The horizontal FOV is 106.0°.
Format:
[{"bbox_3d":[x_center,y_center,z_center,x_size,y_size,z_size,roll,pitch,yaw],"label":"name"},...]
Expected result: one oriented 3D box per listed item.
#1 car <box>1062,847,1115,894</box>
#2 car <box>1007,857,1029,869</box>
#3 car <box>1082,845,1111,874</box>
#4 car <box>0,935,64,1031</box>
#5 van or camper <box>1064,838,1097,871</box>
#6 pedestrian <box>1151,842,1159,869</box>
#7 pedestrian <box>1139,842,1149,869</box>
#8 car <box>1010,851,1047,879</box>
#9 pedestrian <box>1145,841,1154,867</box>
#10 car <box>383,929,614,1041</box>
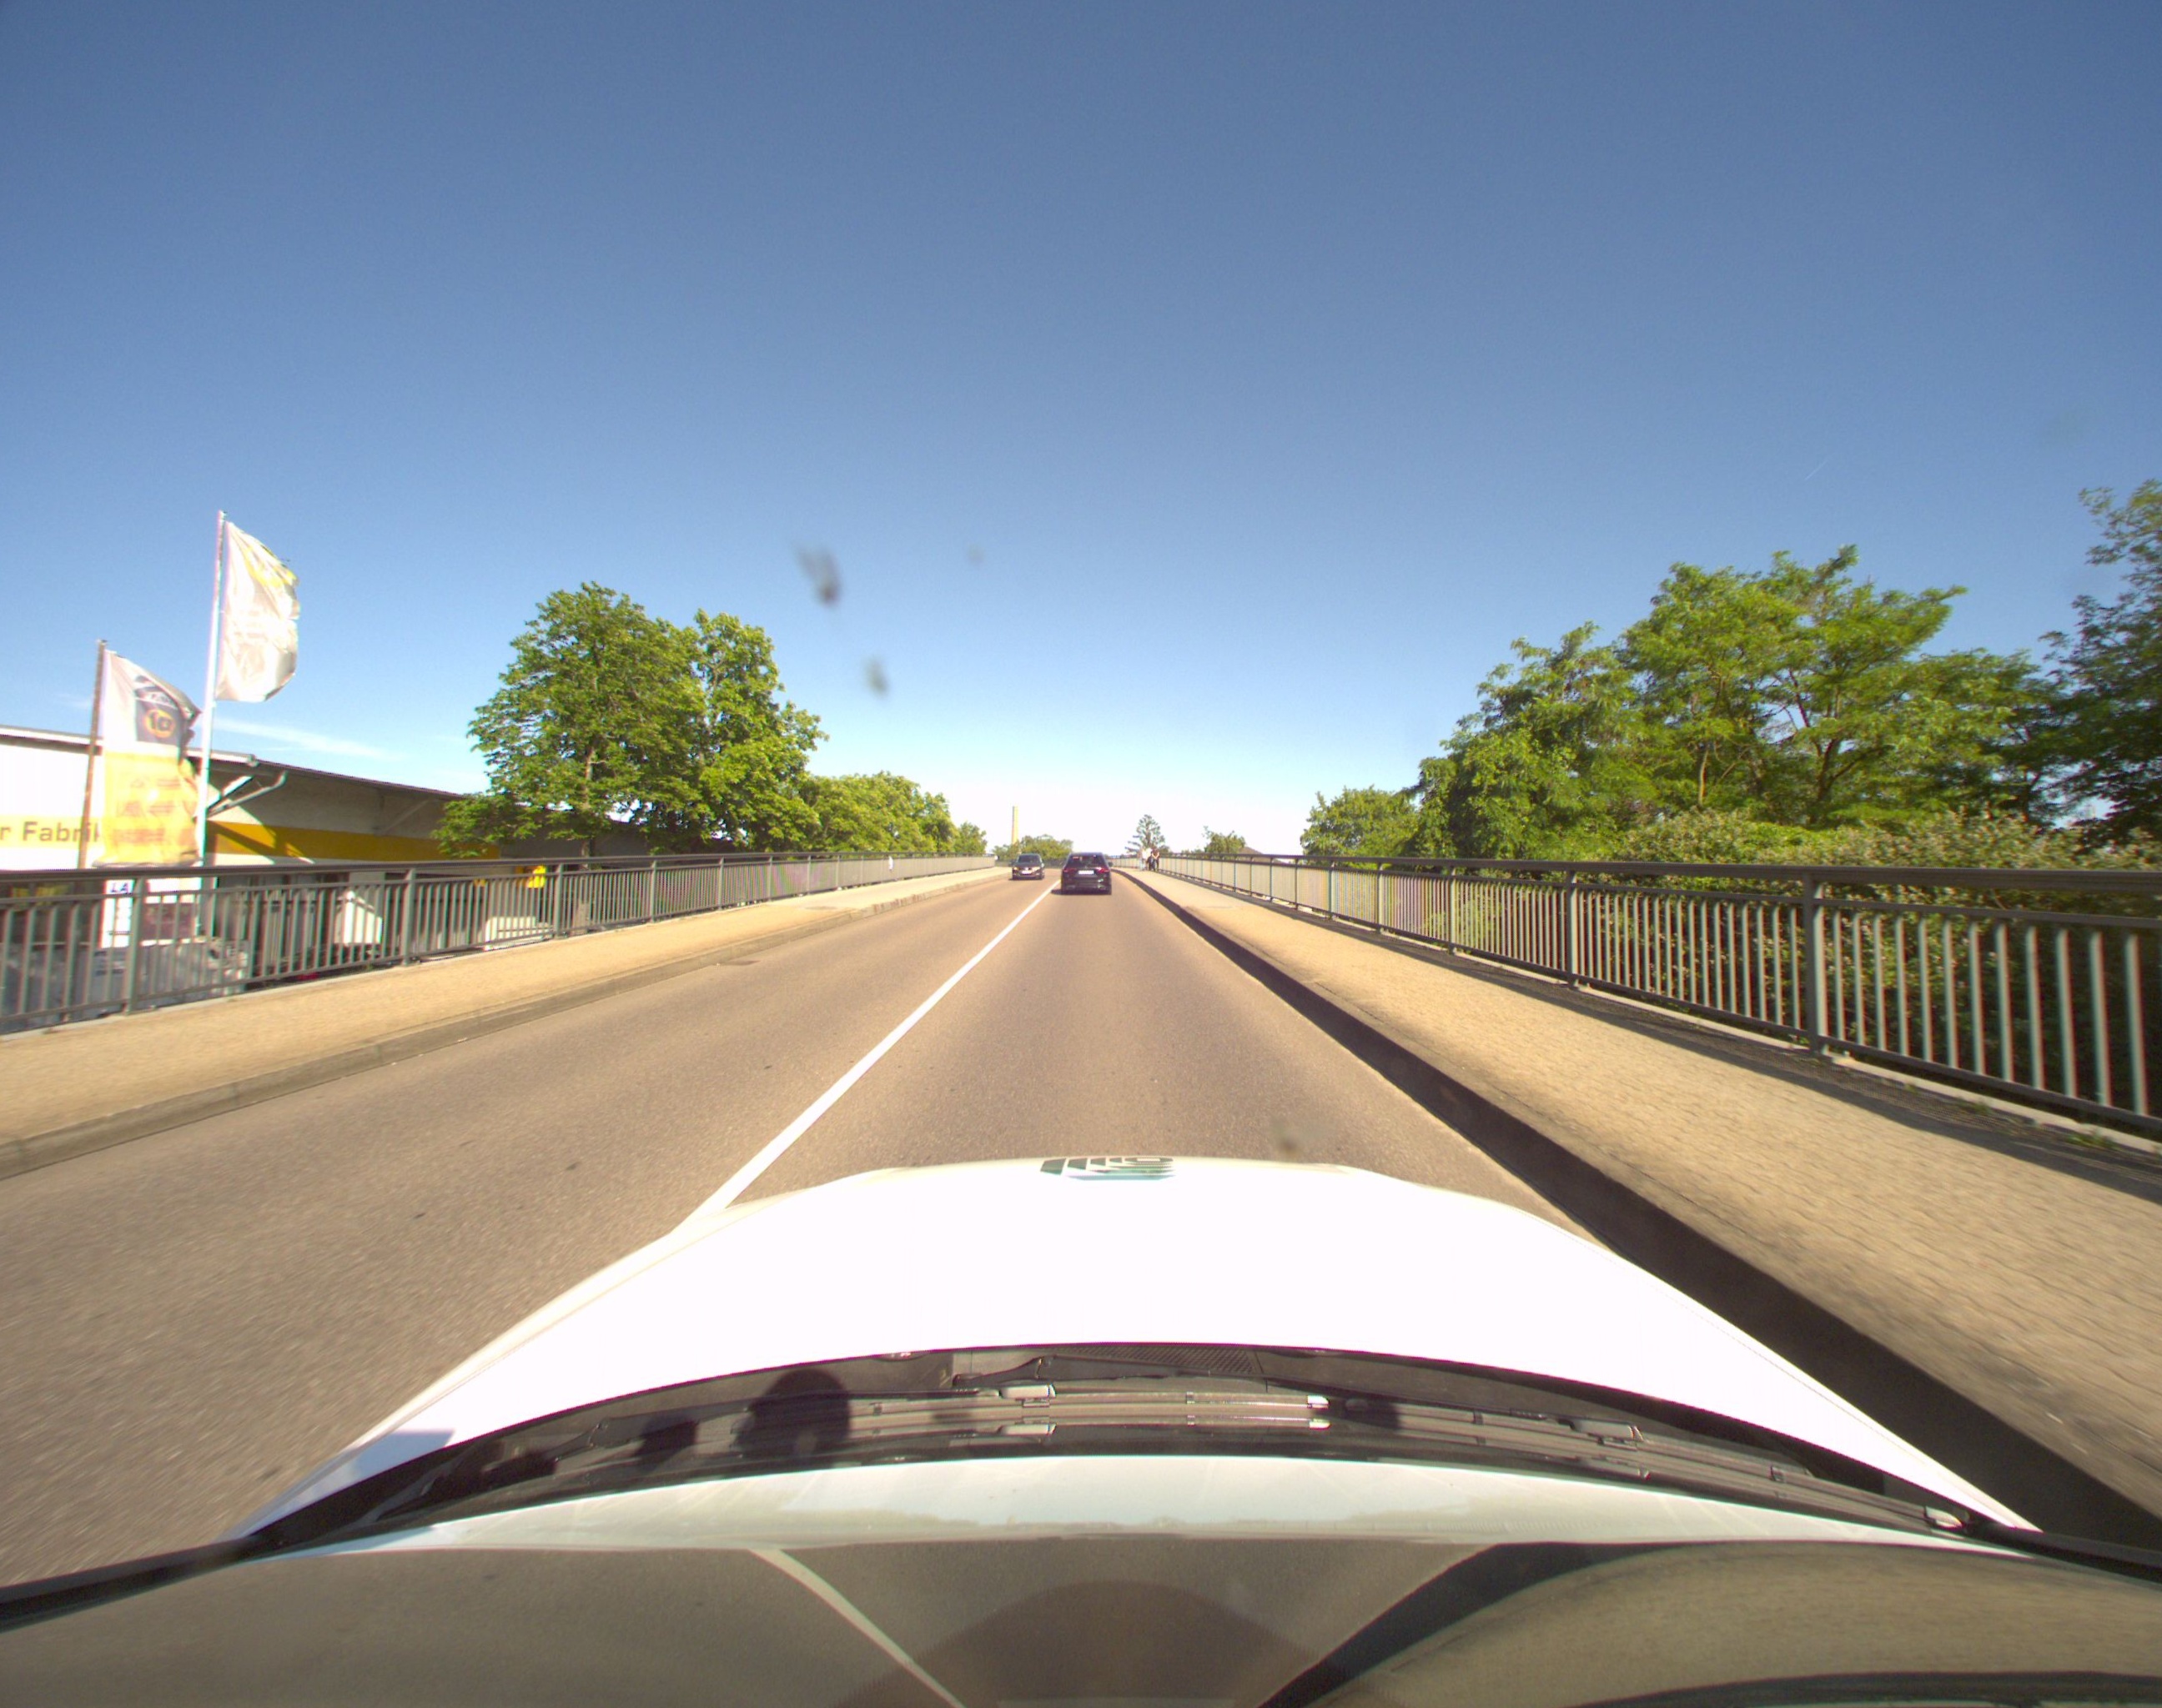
[{"bbox_3d":[0.202,0.570,29.729,1.765,1.592,3.986,1,0,-2],"label":"car"},{"bbox_3d":[-8.910,1.259,115.226,1.905,1.489,4.283,-1,-3,12],"label":"car"},{"bbox_3d":[1.039,0.389,53.659,1.798,1.640,4.000,1,-4,2],"label":"car"},{"bbox_3d":[-22.530,2.578,15.279,1.991,1.852,3.990,0,-2,-6],"label":"car"},{"bbox_3d":[-0.083,0.127,73.372,2.223,2.740,7.064,1,-2,-6],"label":"van or camper"},{"bbox_3d":[4.937,0.102,54.359,0.470,1.750,0.654,1,-2,1],"label":"pedestrian"},{"bbox_3d":[4.172,0.113,54.272,0.600,1.750,0.717,1,-2,1],"label":"pedestrian"},{"bbox_3d":[-2.910,0.608,45.954,1.764,1.474,3.989,-1,0,0],"label":"car"},{"bbox_3d":[4.619,-0.018,55.207,0.547,1.750,0.738,1,-2,1],"label":"pedestrian"},{"bbox_3d":[-13.205,2.884,18.877,1.914,1.991,4.263,1,-2,6],"label":"car"}]
